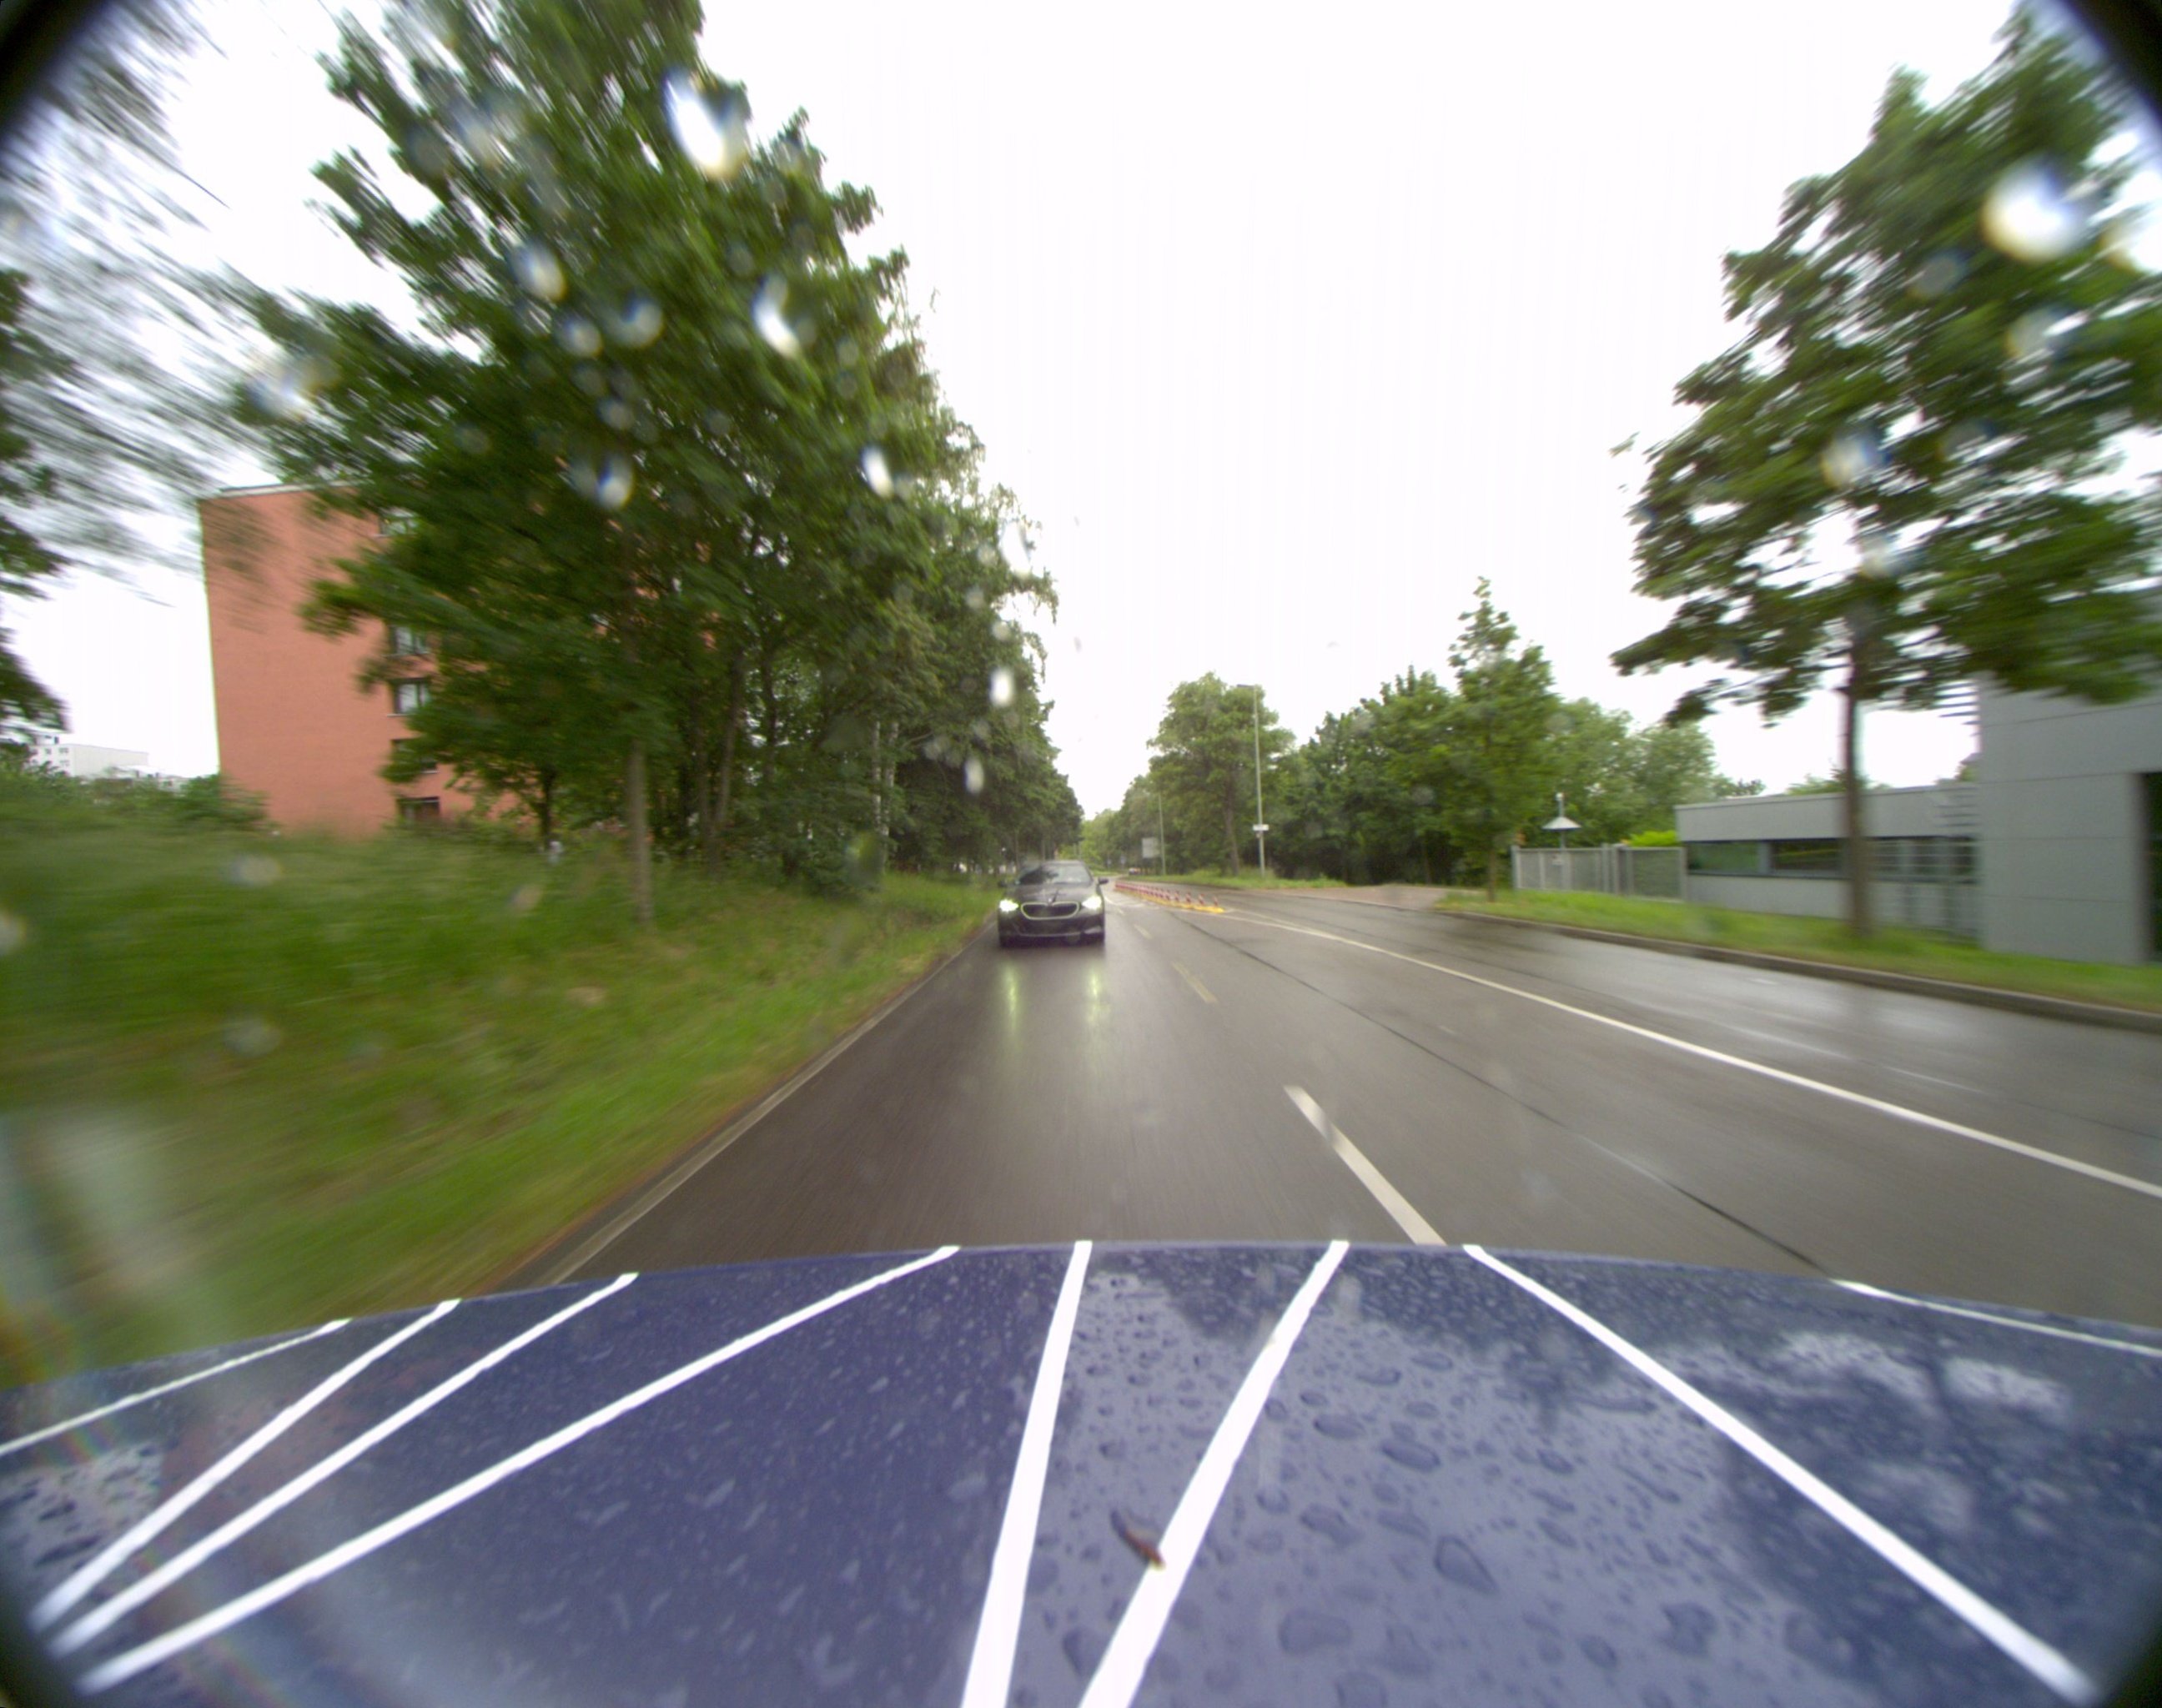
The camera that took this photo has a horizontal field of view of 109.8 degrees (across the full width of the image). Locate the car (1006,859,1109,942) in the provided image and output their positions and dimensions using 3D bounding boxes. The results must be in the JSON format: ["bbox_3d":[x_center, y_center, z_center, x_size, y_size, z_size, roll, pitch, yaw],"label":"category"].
[{"bbox_3d":[-0.388,0.893,16.116,1.845,1.471,4.001,-3,-1,1],"label":"car"}]

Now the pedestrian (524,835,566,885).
[{"bbox_3d":[-14.054,0.162,19.944,0.655,1.276,0.625,0,0,3],"label":"pedestrian"}]

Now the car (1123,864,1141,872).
[{"bbox_3d":[9.467,2.624,141.656,3.053,1.293,1.504,-2,-2,-4],"label":"car"}]
